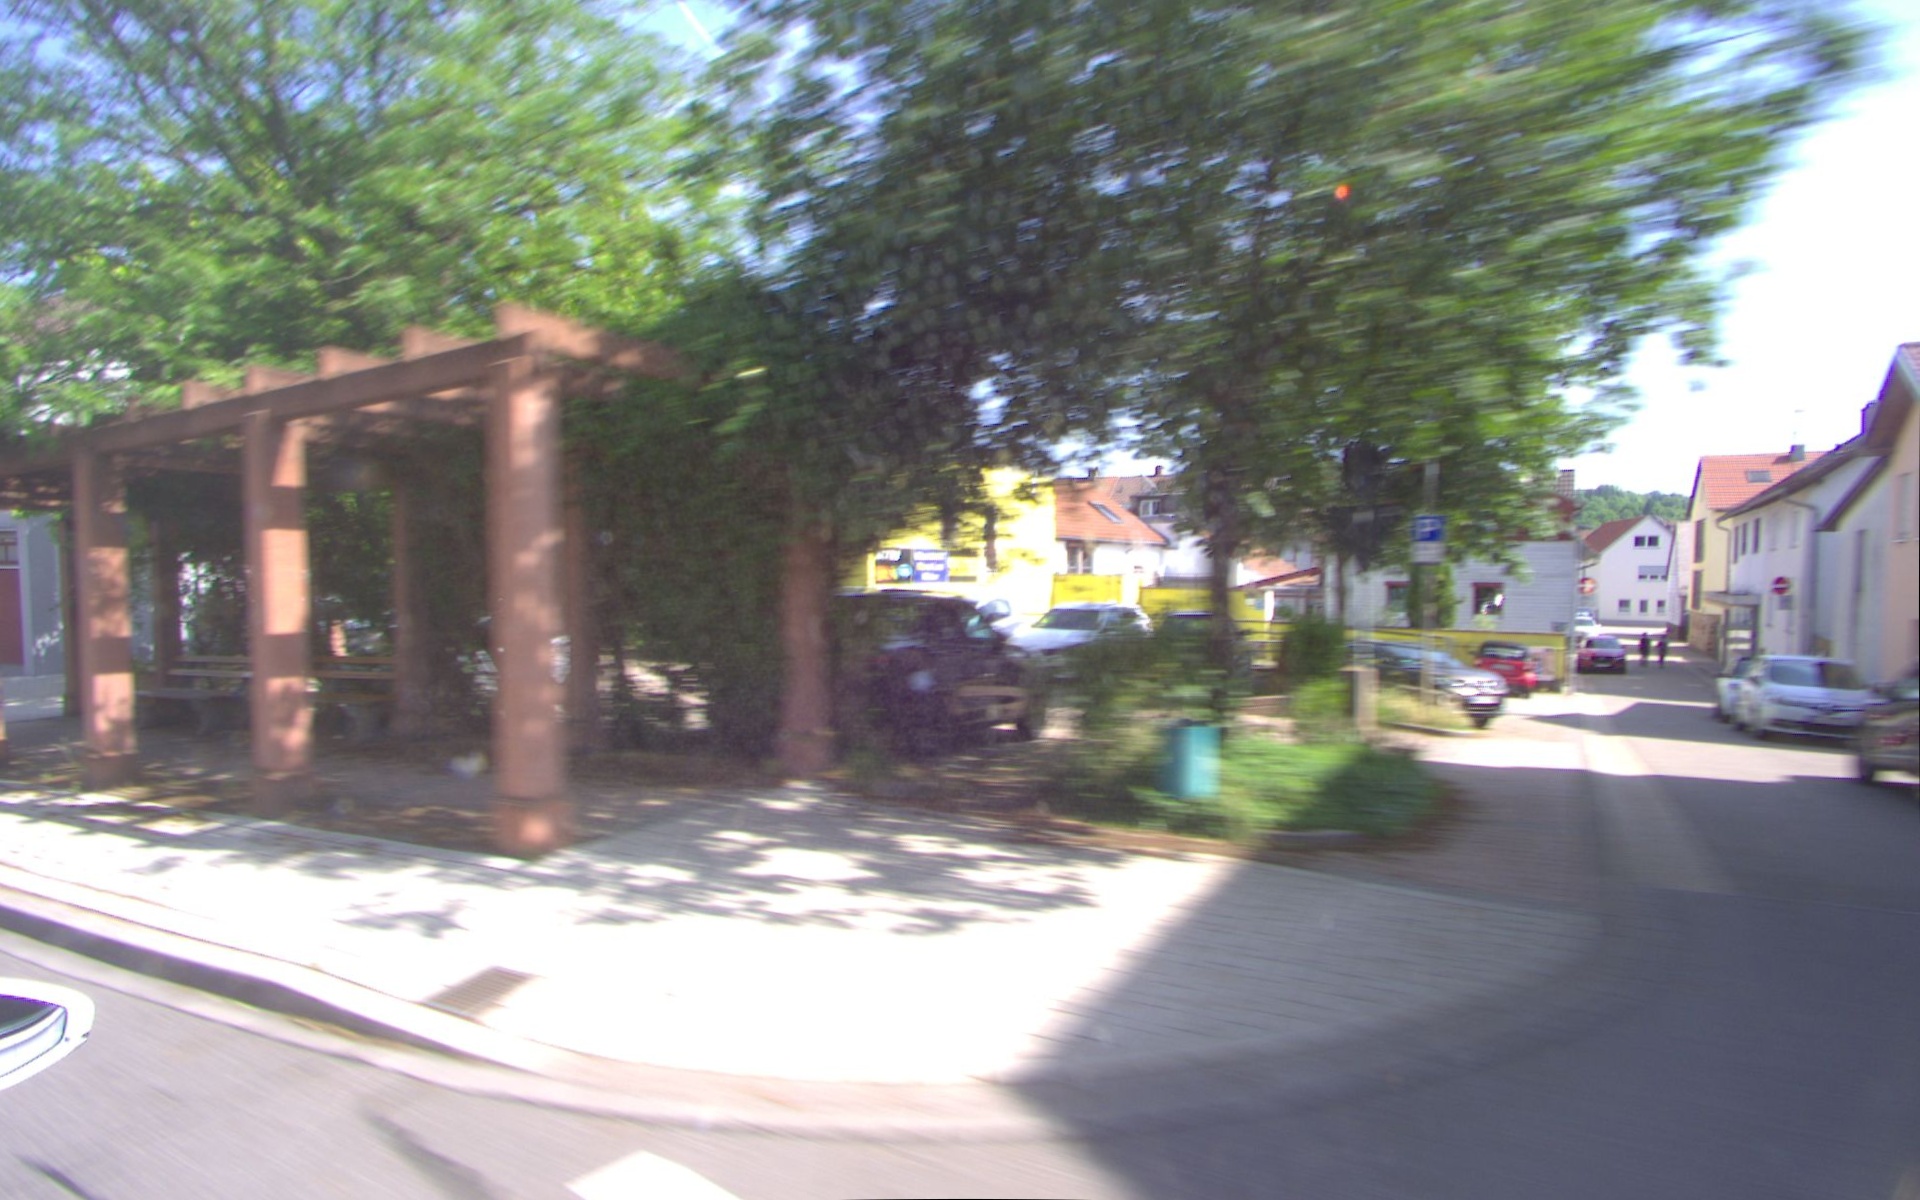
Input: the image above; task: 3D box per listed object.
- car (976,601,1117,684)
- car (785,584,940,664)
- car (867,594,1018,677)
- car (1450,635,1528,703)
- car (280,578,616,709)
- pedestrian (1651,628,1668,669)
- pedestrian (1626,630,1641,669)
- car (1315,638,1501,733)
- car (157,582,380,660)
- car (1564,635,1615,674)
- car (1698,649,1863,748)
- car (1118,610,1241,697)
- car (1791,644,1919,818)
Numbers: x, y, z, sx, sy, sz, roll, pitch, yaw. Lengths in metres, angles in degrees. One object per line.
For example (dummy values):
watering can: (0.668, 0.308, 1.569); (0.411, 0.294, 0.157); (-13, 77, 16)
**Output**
car: (1.897, 0.824, 20.835); (1.628, 1.510, 3.869); (-1, 0, 26)
car: (-2.253, 0.511, 24.282); (1.854, 1.763, 4.173); (0, 1, 26)
car: (-0.284, 0.707, 22.159); (1.728, 1.633, 3.970); (0, 0, 26)
car: (15.802, 2.003, 30.078); (1.926, 1.721, 4.022); (0, 1, 26)
car: (-7.690, 0.542, 15.593); (1.697, 1.566, 4.476); (-1, 3, 26)
pedestrian: (31.767, 2.192, 45.468); (0.587, 1.864, 0.681); (1, 0, 37)
pedestrian: (31.185, 2.284, 46.363); (0.538, 1.775, 0.585); (1, 0, 37)
car: (8.692, 1.610, 19.771); (1.612, 1.593, 3.657); (2, -1, -8)
car: (-15.247, 0.402, 22.274); (1.698, 1.530, 3.692); (0, 2, 29)
car: (27.442, 2.352, 43.719); (1.829, 1.614, 4.018); (0, -2, 32)
car: (15.546, 1.775, 19.189); (1.911, 1.614, 4.018); (0, -2, 32)
car: (4.385, 0.955, 19.583); (1.496, 1.450, 3.869); (0, 0, 26)
car: (9.815, 1.281, 10.196); (1.554, 1.543, 3.488); (0, -4, 31)
